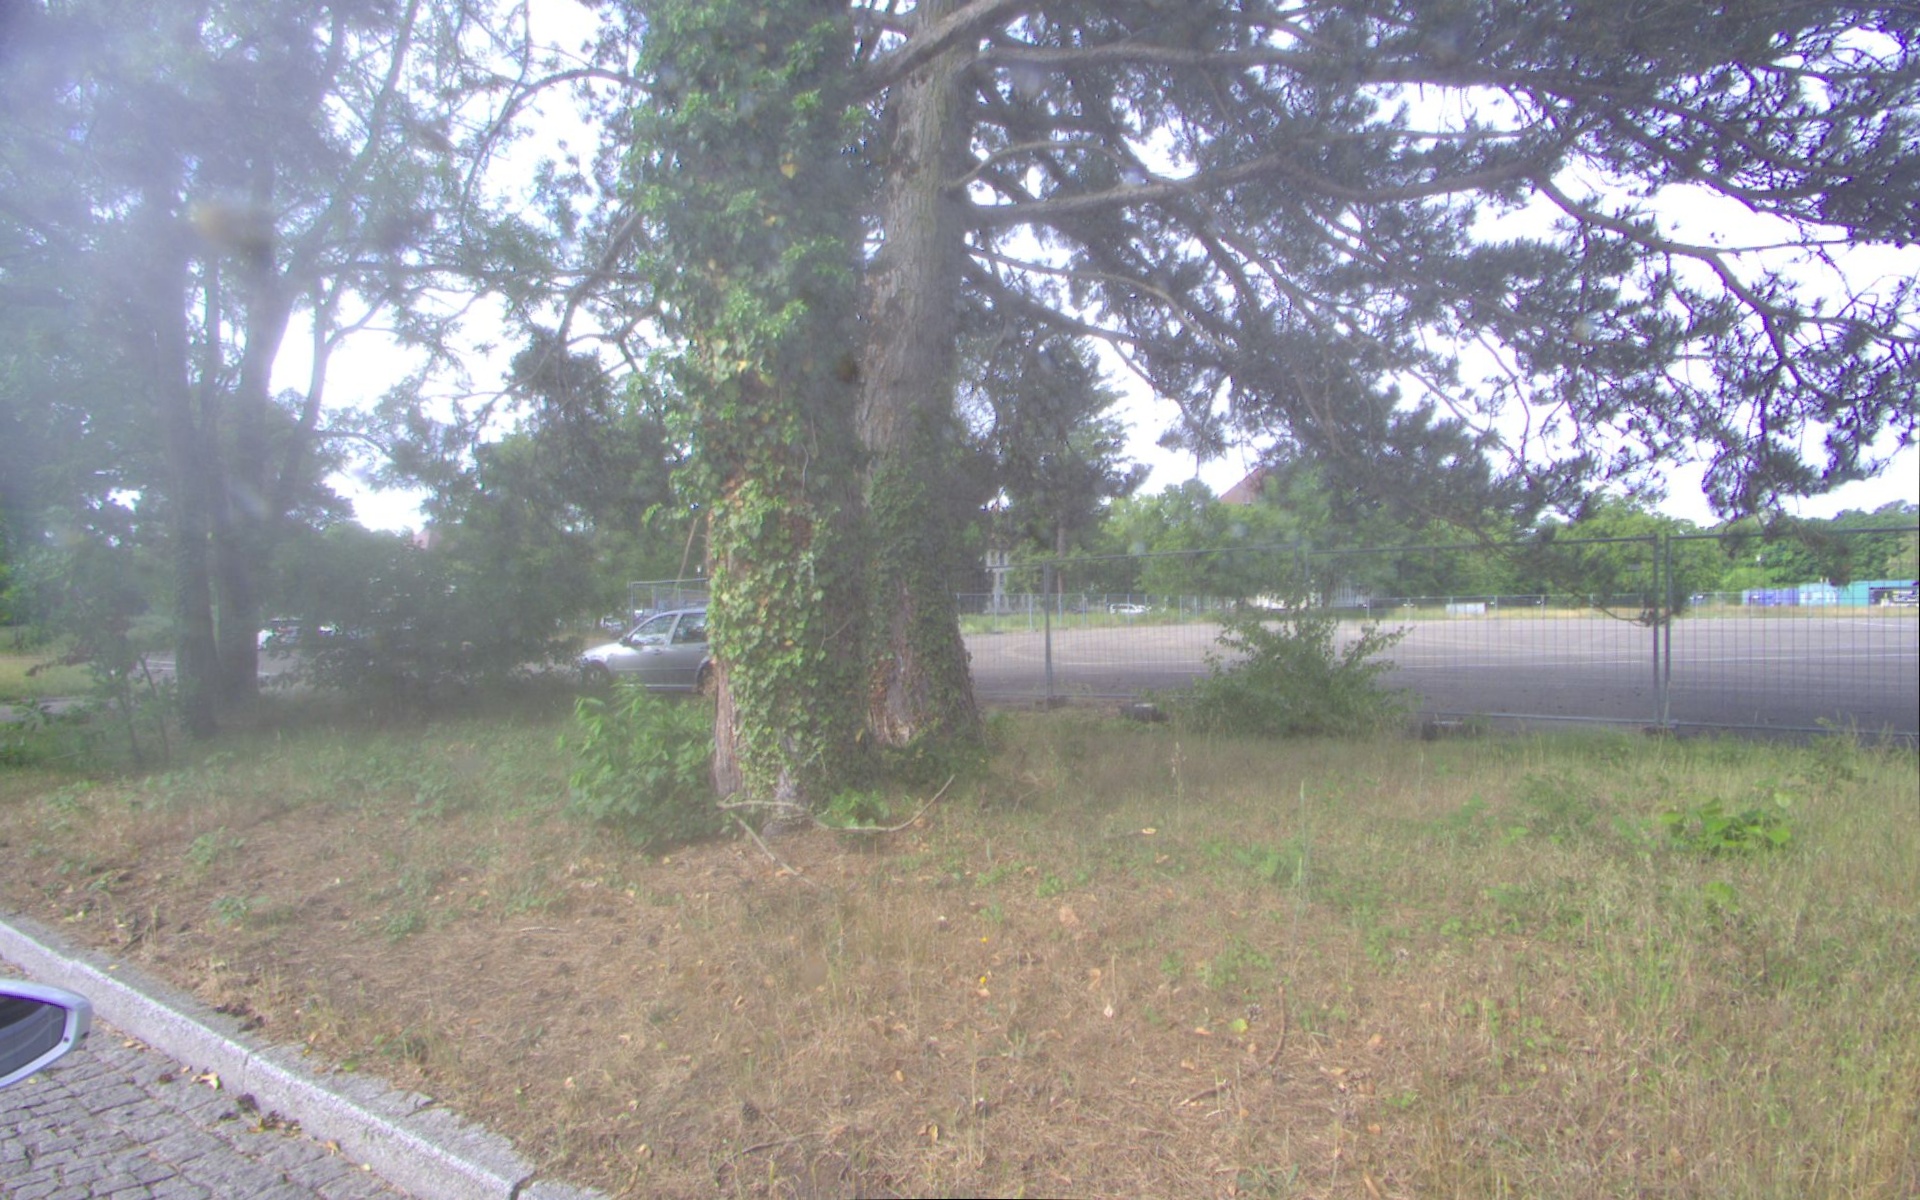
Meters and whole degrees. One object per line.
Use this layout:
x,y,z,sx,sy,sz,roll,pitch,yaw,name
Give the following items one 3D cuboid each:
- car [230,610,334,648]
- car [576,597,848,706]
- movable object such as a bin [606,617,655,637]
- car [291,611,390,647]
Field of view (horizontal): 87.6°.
-29.688,1.278,43.846,4.359,1.500,1.991,-3,-1,29,car
-3.795,0.759,15.130,4.014,1.444,1.644,-1,-3,31,car
-14.743,1.202,44.766,1.928,0.836,1.181,-1,0,37,movable object such as a bin
-28.503,1.346,46.072,4.359,1.500,1.991,-3,-1,29,car
